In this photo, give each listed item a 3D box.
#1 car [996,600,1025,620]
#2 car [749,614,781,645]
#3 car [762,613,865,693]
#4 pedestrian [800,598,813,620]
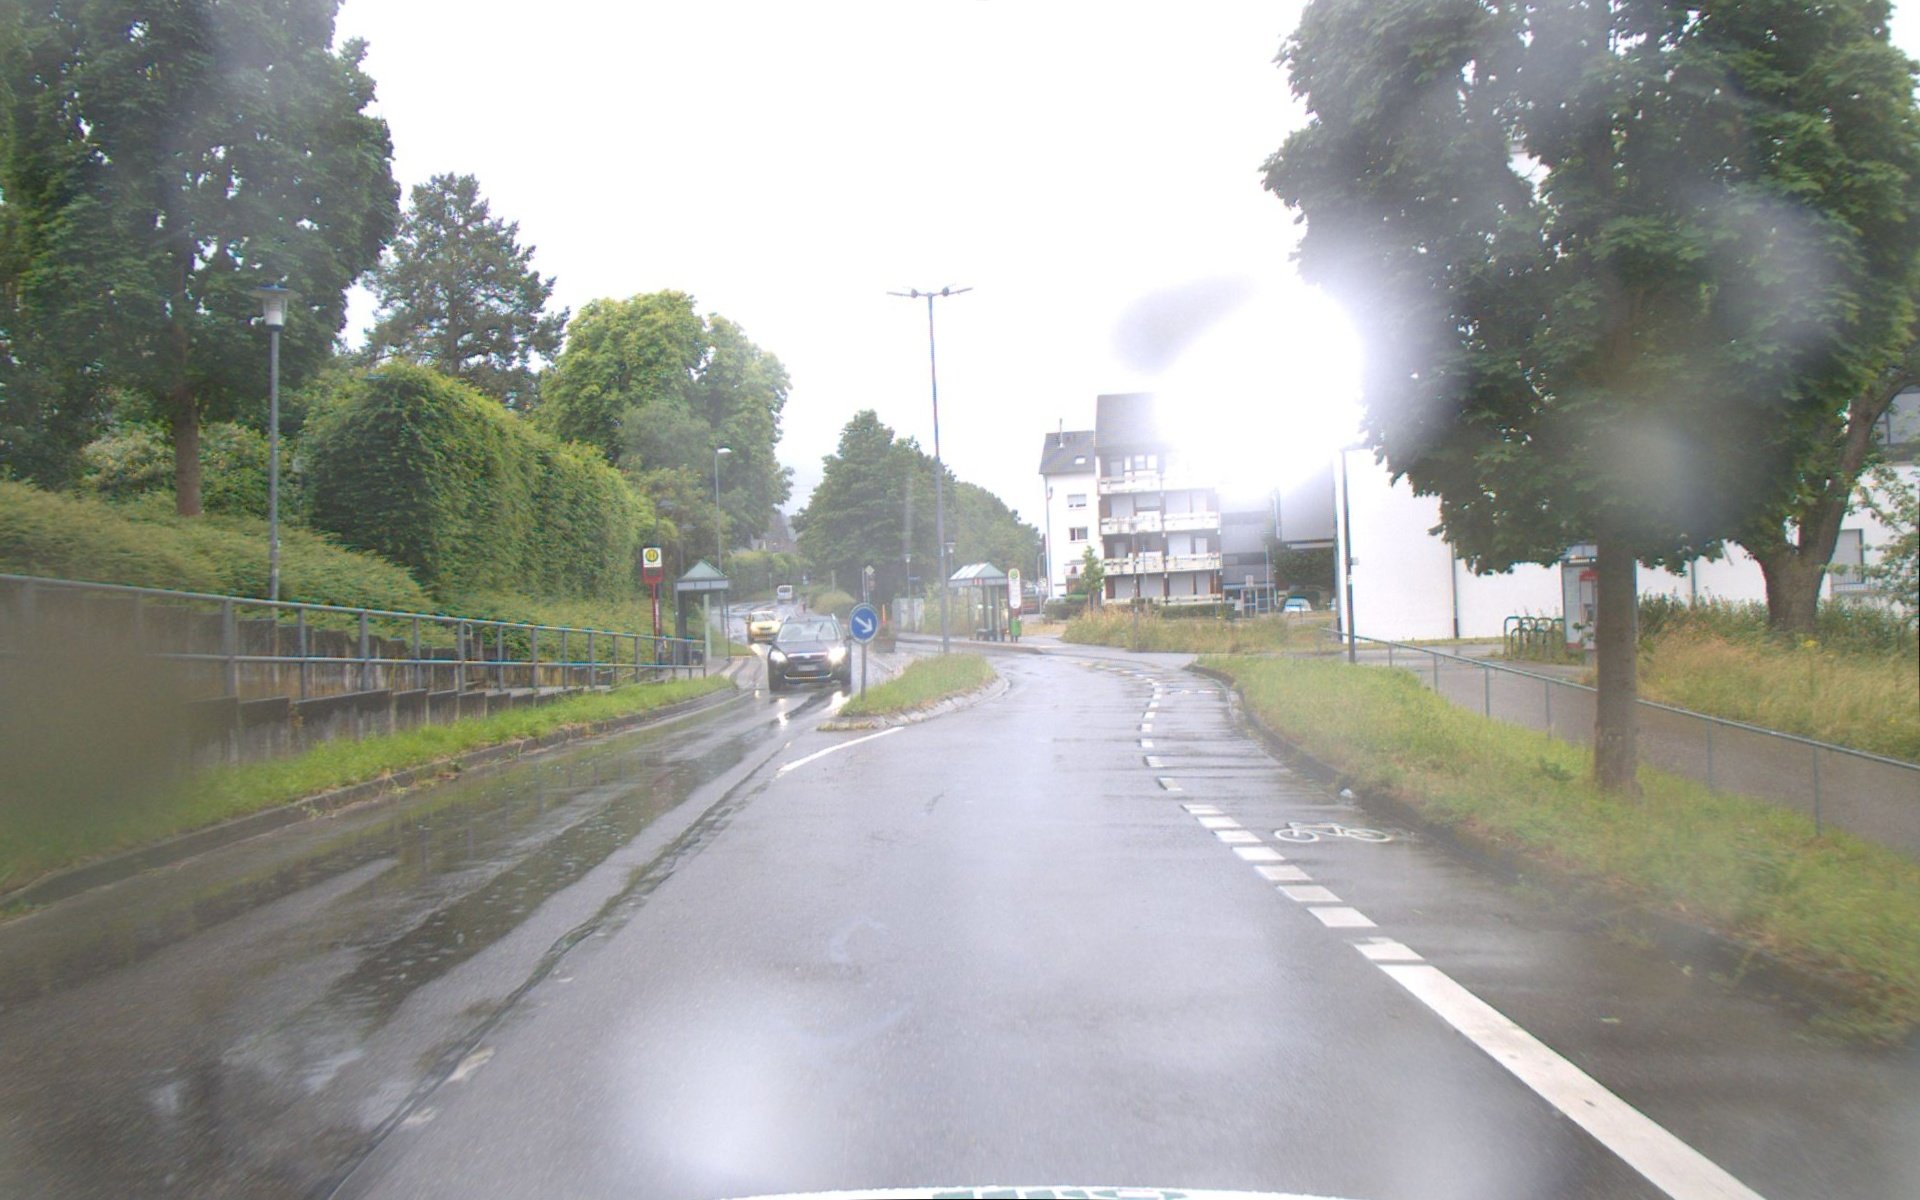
[{"bbox_3d":[3.984,0.799,131.604,1.657,1.463,3.605,-2,1,-9],"label":"car"},{"bbox_3d":[-10.232,1.521,86.787,1.543,1.434,3.468,-4,0,-7],"label":"car"},{"bbox_3d":[-3.143,1.108,36.141,1.724,1.529,4.141,-4,0,1],"label":"car"},{"bbox_3d":[-12.375,0.709,133.644,0.903,1.704,1.055,-4,2,-9],"label":"pedestrian"}]
